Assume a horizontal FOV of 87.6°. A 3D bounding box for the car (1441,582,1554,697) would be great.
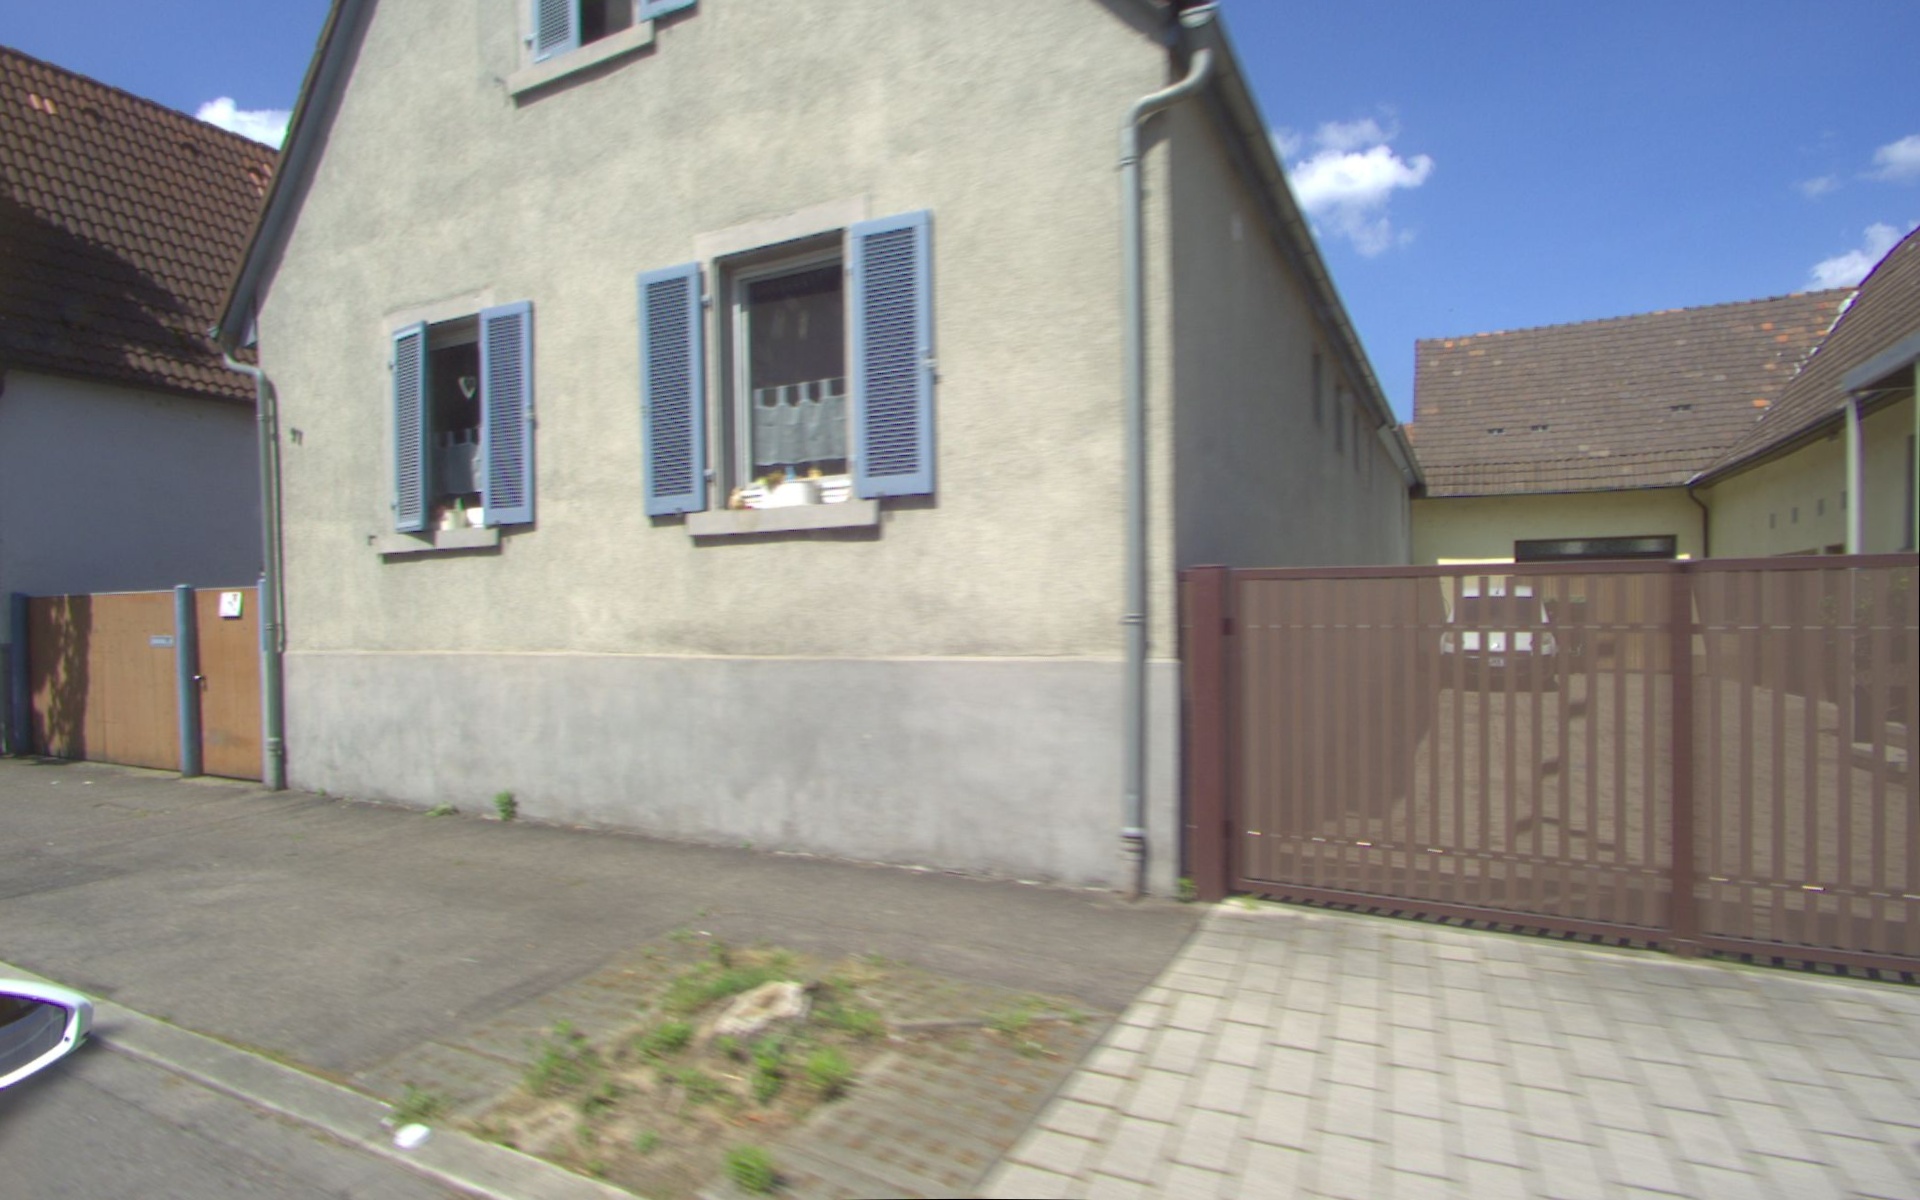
[{"bbox_3d":[10.384,0.778,19.351,1.718,1.964,3.985,-1,-3,29],"label":"car"}]
